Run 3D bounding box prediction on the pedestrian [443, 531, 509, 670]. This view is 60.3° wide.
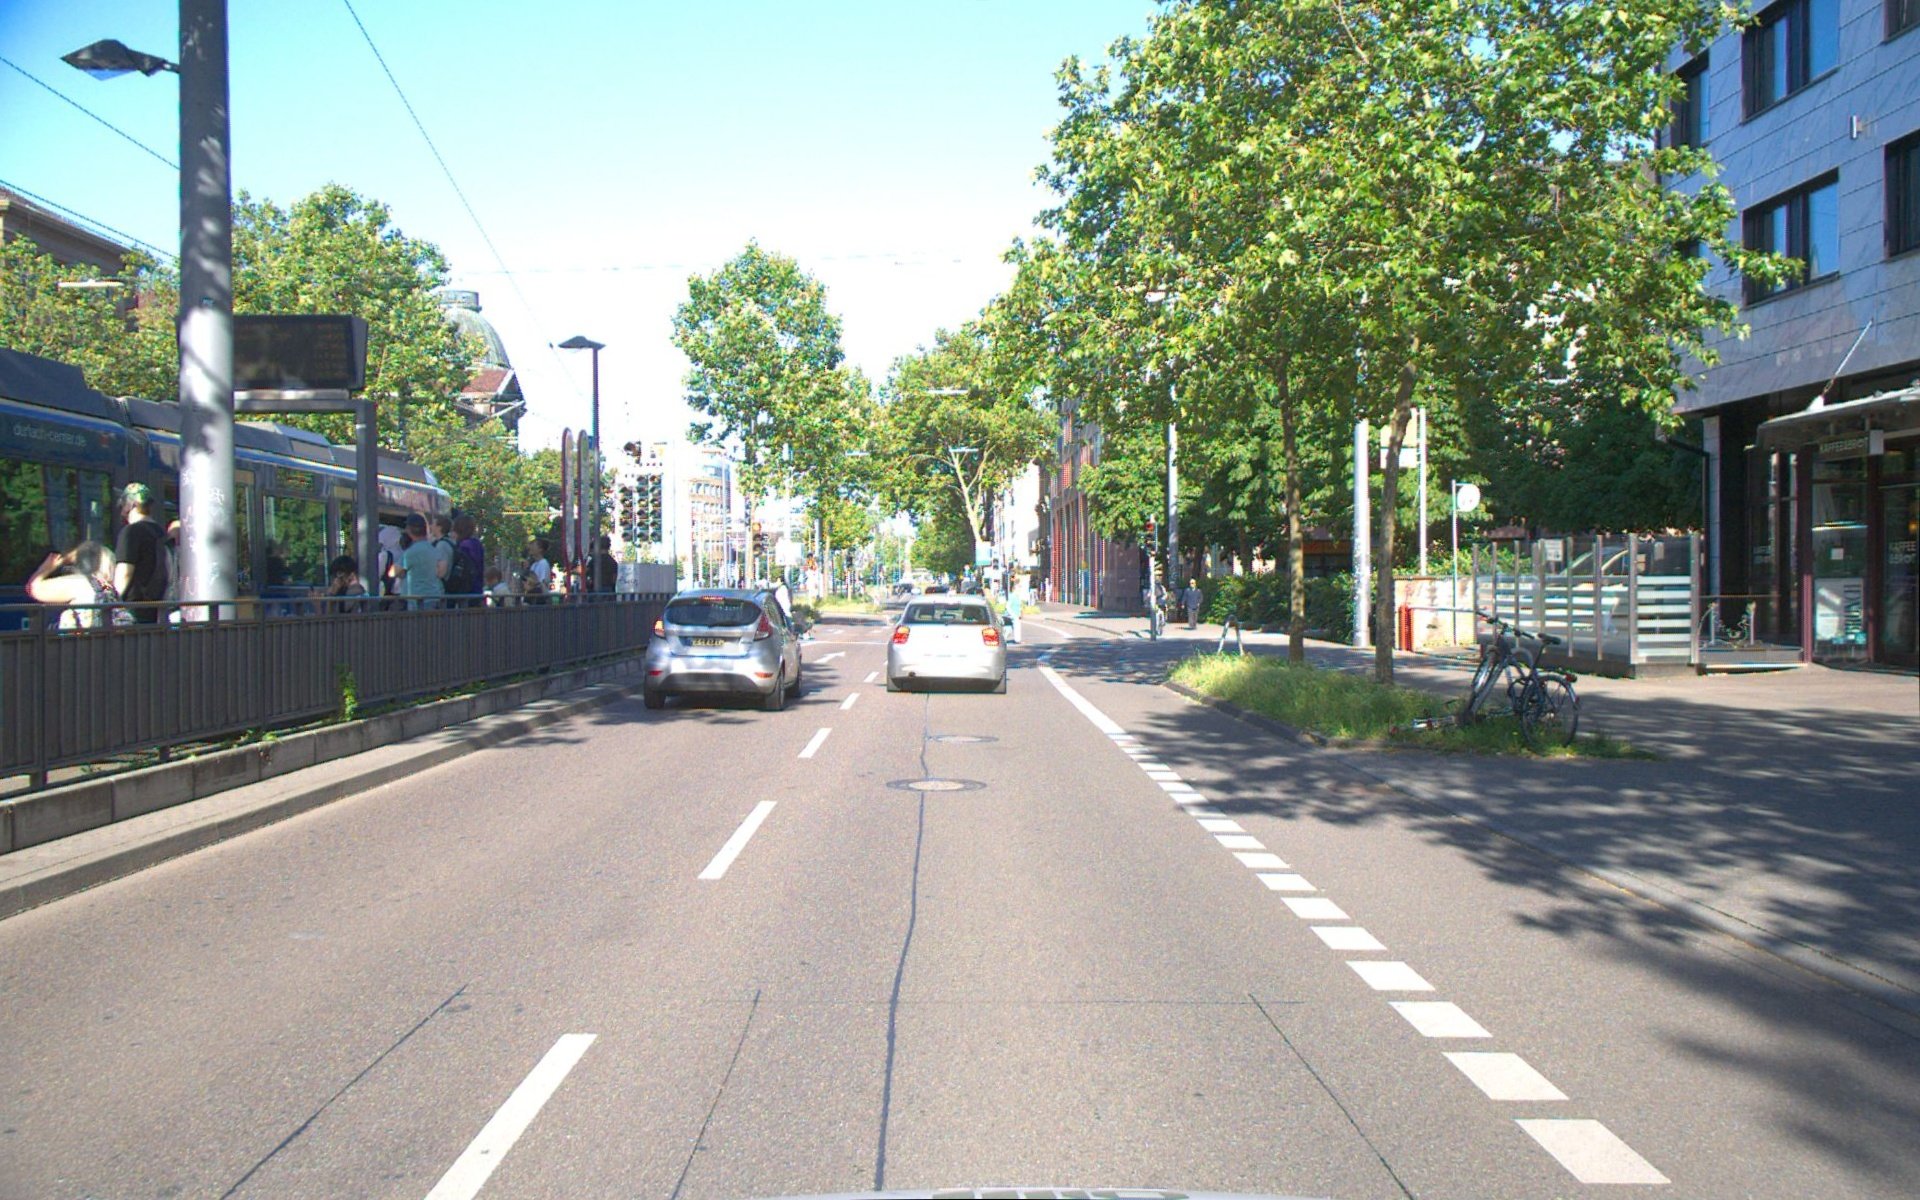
[{"bbox_3d":[-6.148,0.004,21.010,0.497,1.732,0.609,-1,0,37],"label":"pedestrian"}]

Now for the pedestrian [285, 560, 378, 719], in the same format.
[{"bbox_3d":[-5.163,0.316,13.611,0.523,1.268,0.604,-1,0,-3],"label":"pedestrian"}]

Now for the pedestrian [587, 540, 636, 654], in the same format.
[{"bbox_3d":[-5.481,-0.047,25.995,0.545,1.764,0.532,-1,1,-41],"label":"pedestrian"}]

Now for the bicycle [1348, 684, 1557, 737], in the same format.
[{"bbox_3d":[4.650,1.044,15.758,1.576,0.359,1.389,-1,1,-1],"label":"bicycle"}]

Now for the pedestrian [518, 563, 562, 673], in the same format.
[{"bbox_3d":[-5.160,0.215,20.333,0.407,1.339,0.507,-1,0,-3],"label":"pedestrian"}]

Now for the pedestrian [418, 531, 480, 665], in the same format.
[{"bbox_3d":[-6.507,-0.028,21.084,0.606,1.678,0.622,-1,0,-5],"label":"pedestrian"}]

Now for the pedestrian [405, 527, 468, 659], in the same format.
[{"bbox_3d":[-7.009,-0.100,22.180,0.620,1.732,0.746,-1,0,-5],"label":"pedestrian"}]

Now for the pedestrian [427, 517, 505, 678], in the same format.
[{"bbox_3d":[-5.413,-0.029,18.148,0.647,1.726,0.571,-1,0,0],"label":"pedestrian"}]

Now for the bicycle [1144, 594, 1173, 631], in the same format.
[{"bbox_3d":[6.122,0.374,50.966,0.814,1.059,1.876,-1,1,8],"label":"bicycle"}]

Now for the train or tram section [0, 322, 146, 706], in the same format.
[{"bbox_3d":[-9.675,-0.799,8.916,2.855,3.317,15.890,1,0,-1],"label":"train or tram section"}]

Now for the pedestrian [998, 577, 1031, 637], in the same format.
[{"bbox_3d":[1.459,0.179,44.363,0.812,1.603,0.739,0,0,7],"label":"pedestrian"}]

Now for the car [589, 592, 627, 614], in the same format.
[{"bbox_3d":[-27.150,0.225,127.667,1.952,1.653,4.002,0,1,3],"label":"car"}]

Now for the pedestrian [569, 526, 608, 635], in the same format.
[{"bbox_3d":[-6.155,-0.323,27.420,0.537,1.764,0.539,-1,0,-5],"label":"pedestrian"}]

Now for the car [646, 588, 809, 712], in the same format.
[{"bbox_3d":[-2.869,0.570,21.060,1.627,1.434,3.631,1,0,-1],"label":"car"}]

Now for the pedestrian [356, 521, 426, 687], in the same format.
[{"bbox_3d":[-6.107,0.040,17.764,0.504,1.738,0.621,-1,0,-1],"label":"pedestrian"}]

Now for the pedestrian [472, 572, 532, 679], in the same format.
[{"bbox_3d":[-5.291,0.290,19.134,0.534,1.213,0.531,-1,0,-1],"label":"pedestrian"}]

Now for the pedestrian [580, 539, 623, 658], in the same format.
[{"bbox_3d":[-5.402,-0.033,24.942,0.537,1.764,0.539,-1,0,-5],"label":"pedestrian"}]

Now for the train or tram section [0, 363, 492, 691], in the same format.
[{"bbox_3d":[-9.866,-0.723,23.443,2.855,3.317,13.110,1,0,-1],"label":"train or tram section"}]

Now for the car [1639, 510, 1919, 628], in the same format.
[{"bbox_3d":[16.463,-0.627,33.217,4.798,2.019,1.913,-3,0,-1],"label":"car"}]

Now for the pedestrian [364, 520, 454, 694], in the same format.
[{"bbox_3d":[-5.383,0.062,16.178,0.647,1.662,0.571,-1,0,0],"label":"pedestrian"}]

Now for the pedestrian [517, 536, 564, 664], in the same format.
[{"bbox_3d":[-5.793,-0.001,22.839,0.495,1.732,0.611,-1,0,-5],"label":"pedestrian"}]

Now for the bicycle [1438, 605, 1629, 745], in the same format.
[{"bbox_3d":[5.188,0.645,15.093,0.774,1.153,1.840,-1,1,-13],"label":"bicycle"}]

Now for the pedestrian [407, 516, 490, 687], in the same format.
[{"bbox_3d":[-5.293,0.014,17.130,0.647,1.726,0.571,-1,0,0],"label":"pedestrian"}]

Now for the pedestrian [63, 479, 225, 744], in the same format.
[{"bbox_3d":[-5.707,0.070,11.609,0.760,1.783,0.723,-1,0,-4],"label":"pedestrian"}]

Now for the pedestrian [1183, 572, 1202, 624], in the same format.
[{"bbox_3d":[7.514,-0.061,53.518,0.613,1.657,0.944,0,0,7],"label":"pedestrian"}]

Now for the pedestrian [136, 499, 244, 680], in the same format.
[{"bbox_3d":[-5.829,-0.083,12.540,0.523,1.322,0.604,-1,0,-4],"label":"pedestrian"}]

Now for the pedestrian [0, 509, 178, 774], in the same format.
[{"bbox_3d":[-5.332,0.236,10.078,0.760,1.536,0.751,-1,0,-4],"label":"pedestrian"}]

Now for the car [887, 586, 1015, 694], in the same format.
[{"bbox_3d":[-0.065,0.546,25.074,1.694,1.414,3.842,1,2,3],"label":"car"}]

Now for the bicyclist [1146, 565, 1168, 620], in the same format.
[{"bbox_3d":[6.072,-0.235,50.949,0.644,1.686,0.765,-1,0,8],"label":"bicyclist"}]

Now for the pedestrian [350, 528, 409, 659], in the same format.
[{"bbox_3d":[-7.853,-0.090,22.379,0.597,1.732,0.545,-1,0,-5],"label":"pedestrian"}]
